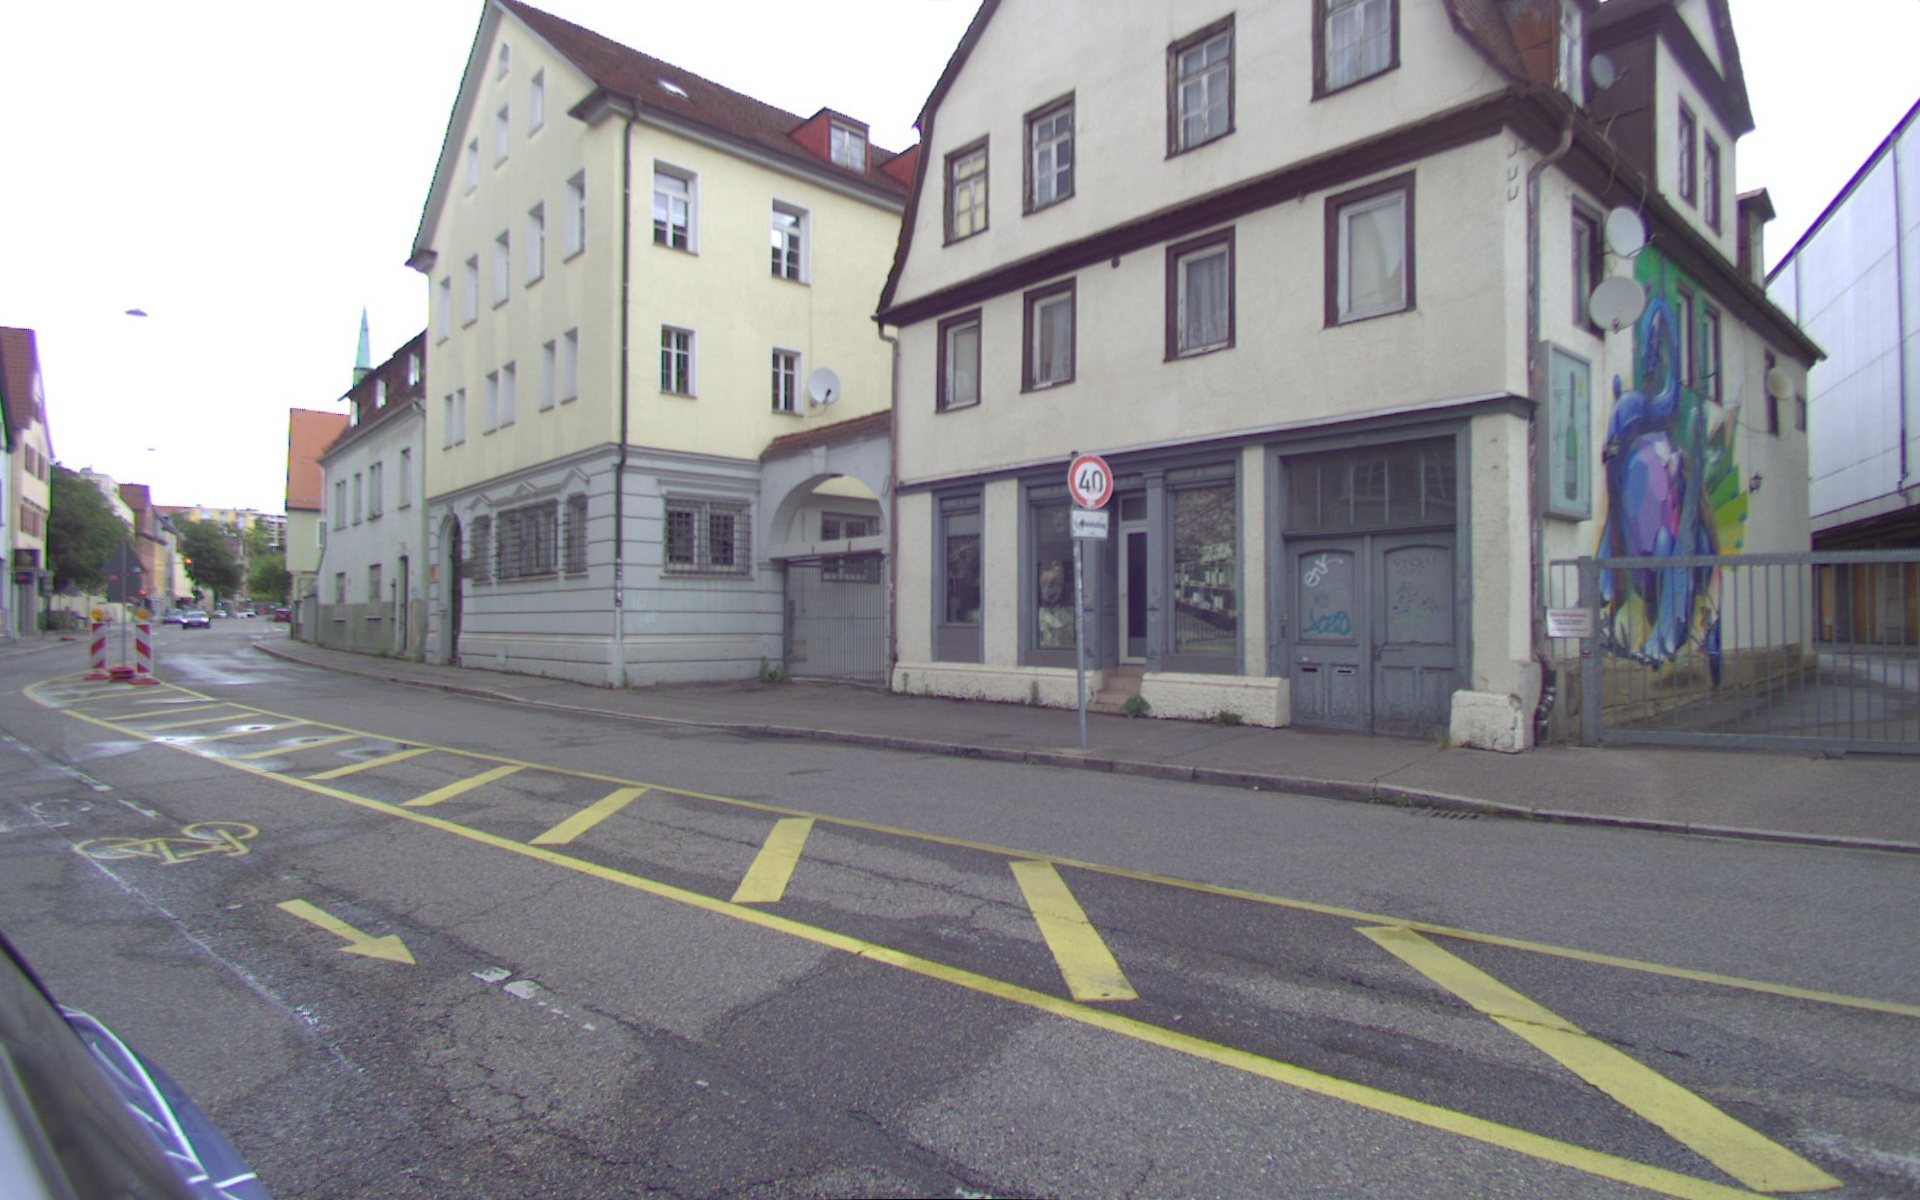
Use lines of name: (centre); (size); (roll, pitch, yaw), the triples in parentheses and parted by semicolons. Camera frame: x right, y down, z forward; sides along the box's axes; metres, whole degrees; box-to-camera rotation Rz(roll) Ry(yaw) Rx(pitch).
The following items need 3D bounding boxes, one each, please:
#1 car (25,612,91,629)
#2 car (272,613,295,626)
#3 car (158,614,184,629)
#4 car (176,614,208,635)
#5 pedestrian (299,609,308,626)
car: (-77.419, 1.747, 86.911); (3.932, 1.475, 2.006); (0, 0, -33)
car: (-85.866, 2.458, 128.442); (2.178, 1.690, 4.509); (2, -2, -36)
car: (-84.959, 2.296, 109.012); (2.001, 1.567, 4.010); (2, -2, -35)
car: (-65.215, 2.028, 86.000); (1.967, 1.691, 4.010); (0, 0, -34)
pedestrian: (-80.954, 2.151, 124.791); (0.823, 2.029, 0.847); (1, -2, -36)
